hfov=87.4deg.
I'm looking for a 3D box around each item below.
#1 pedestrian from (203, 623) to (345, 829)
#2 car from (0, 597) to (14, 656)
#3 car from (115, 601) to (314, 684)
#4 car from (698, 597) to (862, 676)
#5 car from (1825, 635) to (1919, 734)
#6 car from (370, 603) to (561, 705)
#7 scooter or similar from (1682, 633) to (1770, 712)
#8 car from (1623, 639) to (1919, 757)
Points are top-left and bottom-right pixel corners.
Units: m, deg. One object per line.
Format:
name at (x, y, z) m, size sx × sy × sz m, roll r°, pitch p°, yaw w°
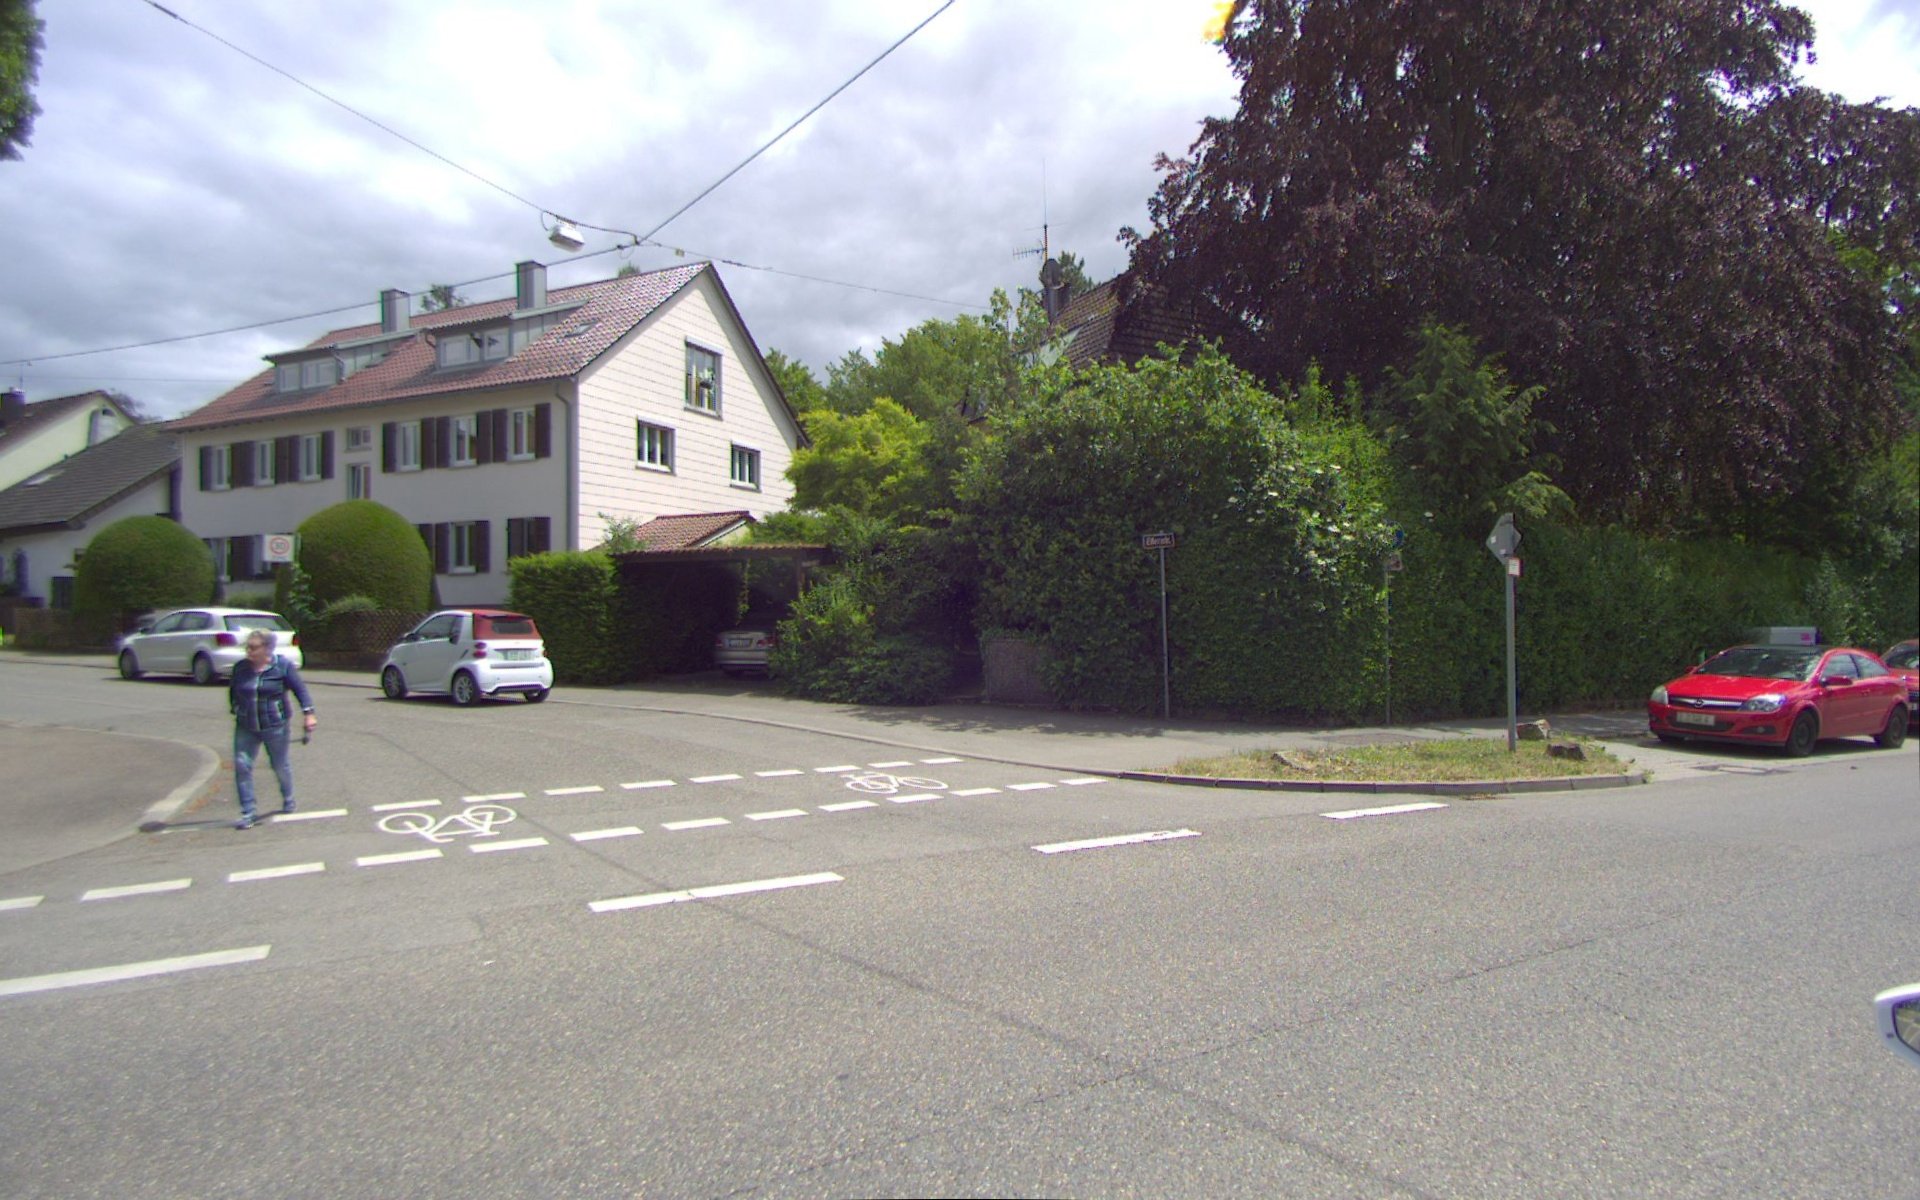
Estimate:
pedestrian at (-5.429, 0.954, 7.963) m, size 0.717 × 1.528 × 0.627 m, roll 0°, pitch -1°, yaw 25°
car at (-25.584, 0.598, 24.740) m, size 4.197 × 1.424 × 1.706 m, roll 1°, pitch -1°, yaw 22°
car at (-14.834, 0.805, 19.997) m, size 3.467 × 1.474 × 1.714 m, roll 1°, pitch -1°, yaw 25°
car at (-3.767, 0.742, 21.760) m, size 1.694 × 1.530 × 4.000 m, roll 1°, pitch -1°, yaw 20°
car at (16.189, 1.349, 16.480) m, size 4.053 × 1.470 × 1.643 m, roll 1°, pitch 0°, yaw -28°
car at (-8.494, 0.880, 17.274) m, size 2.726 × 1.576 × 1.588 m, roll 1°, pitch -1°, yaw 26°
scooter or similar at (14.538, 1.347, 19.058) m, size 1.627 × 1.431 × 0.668 m, roll 1°, pitch 0°, yaw -25°
car at (11.515, 1.289, 14.119) m, size 4.507 × 1.396 × 1.655 m, roll 1°, pitch 0°, yaw -27°
